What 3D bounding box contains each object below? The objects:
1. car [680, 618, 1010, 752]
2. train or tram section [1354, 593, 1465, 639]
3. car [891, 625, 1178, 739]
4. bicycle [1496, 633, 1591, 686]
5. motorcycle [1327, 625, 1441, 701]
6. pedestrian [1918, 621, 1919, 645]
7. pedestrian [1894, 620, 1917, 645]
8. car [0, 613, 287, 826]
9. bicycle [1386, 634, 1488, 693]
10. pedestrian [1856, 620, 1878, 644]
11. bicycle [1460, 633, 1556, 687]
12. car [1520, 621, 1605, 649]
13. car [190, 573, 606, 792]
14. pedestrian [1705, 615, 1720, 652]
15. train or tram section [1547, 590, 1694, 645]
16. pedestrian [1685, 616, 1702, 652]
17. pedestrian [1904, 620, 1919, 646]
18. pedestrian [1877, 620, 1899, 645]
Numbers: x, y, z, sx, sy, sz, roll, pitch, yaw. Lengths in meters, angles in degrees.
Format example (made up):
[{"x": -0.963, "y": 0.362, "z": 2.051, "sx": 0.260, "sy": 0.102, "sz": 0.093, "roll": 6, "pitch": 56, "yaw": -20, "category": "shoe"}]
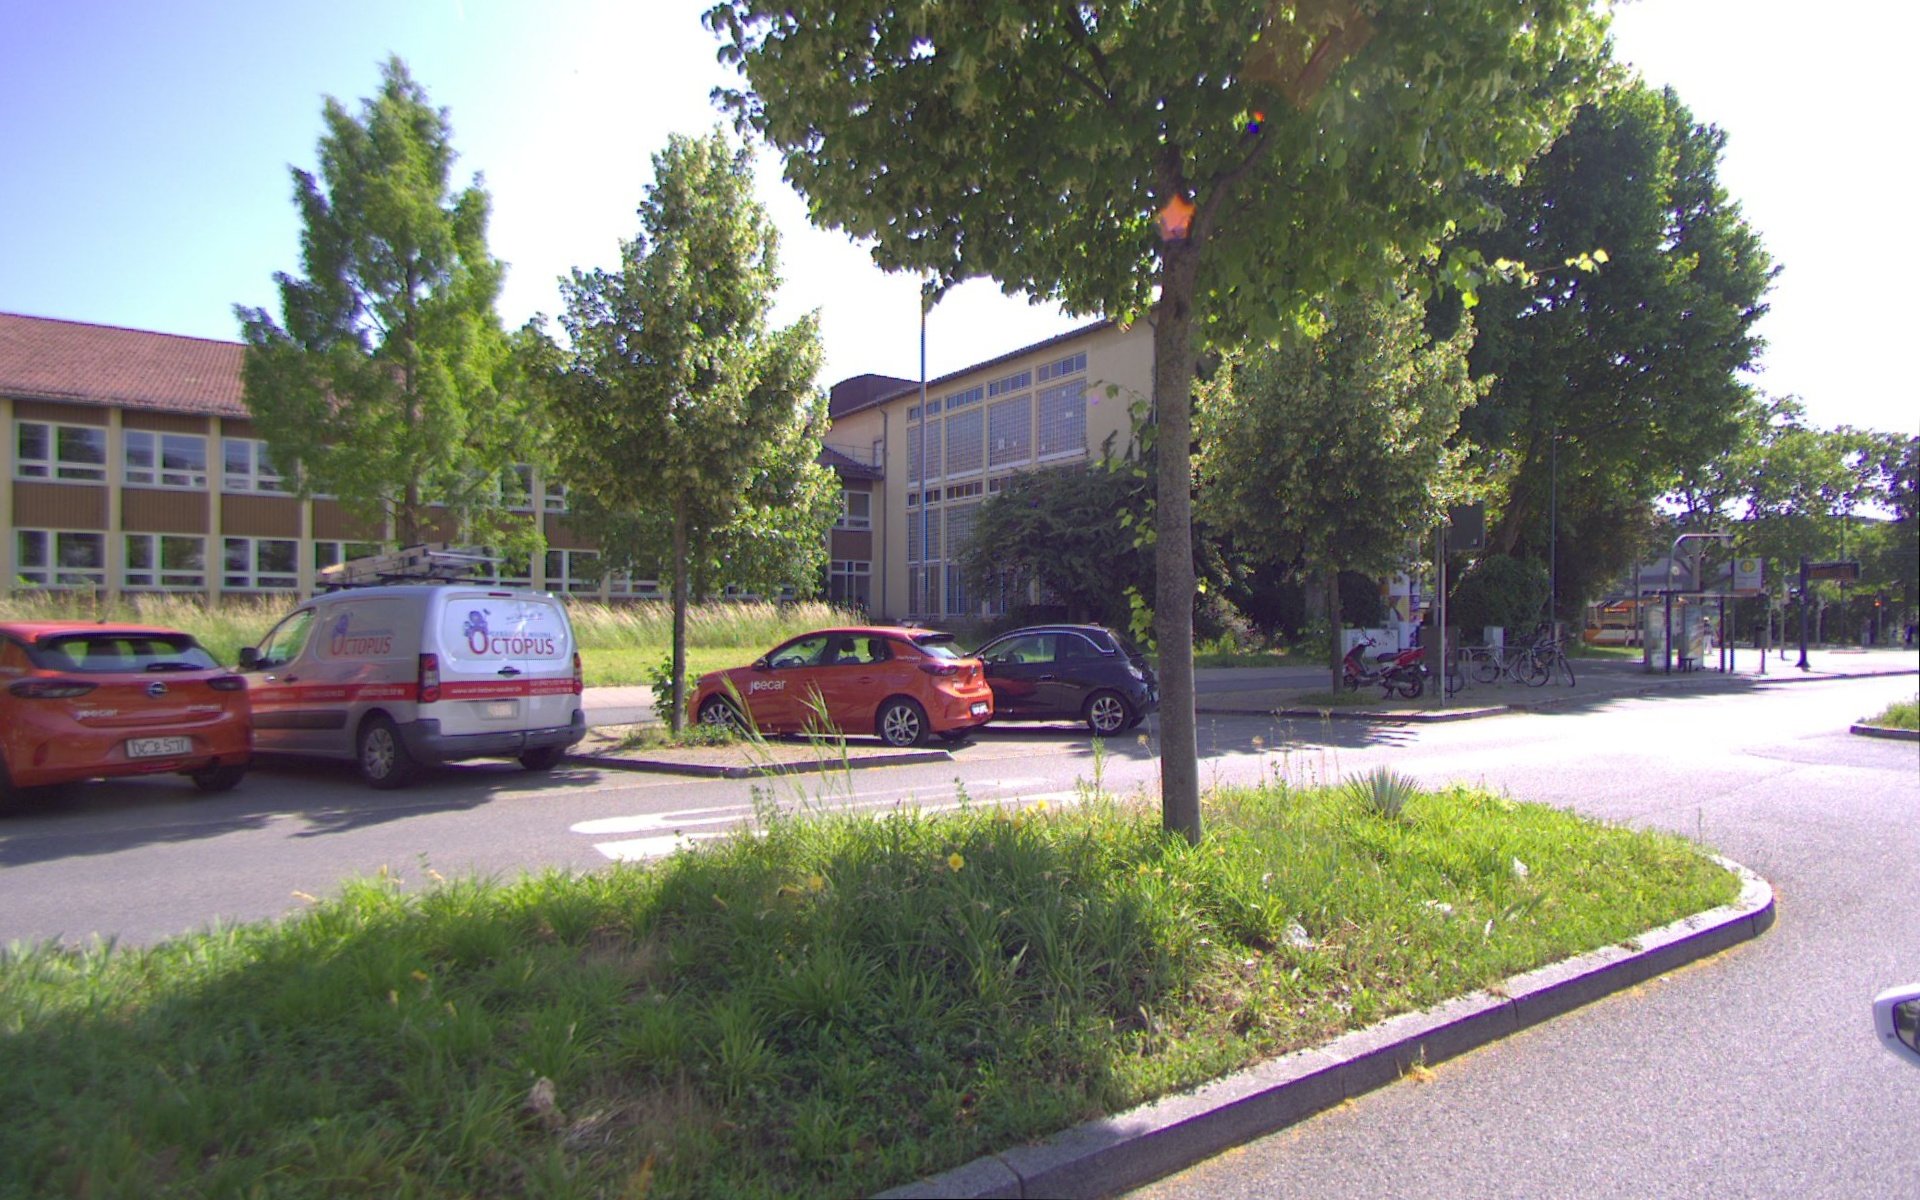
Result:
[{"x": -1.432, "y": 0.971, "z": 12.656, "sx": 3.768, "sy": 1.442, "sz": 1.715, "roll": 0, "pitch": -1, "yaw": 23, "category": "car"}, {"x": 35.095, "y": 1.247, "z": 78.688, "sx": 3.086, "sy": 3.376, "sz": 7.511, "roll": 1, "pitch": -1, "yaw": -33, "category": "train or tram section"}, {"x": 1.097, "y": 1.085, "z": 14.123, "sx": 3.699, "sy": 1.442, "sz": 1.857, "roll": 0, "pitch": -2, "yaw": 18, "category": "car"}, {"x": 13.630, "y": 1.372, "z": 23.507, "sx": 0.685, "sy": 1.137, "sz": 1.836, "roll": 1, "pitch": -1, "yaw": -30, "category": "bicycle"}, {"x": 7.790, "y": 1.125, "z": 18.510, "sx": 0.687, "sy": 1.301, "sz": 1.831, "roll": 1, "pitch": -1, "yaw": -38, "category": "motorcycle"}, {"x": 63.994, "y": 2.190, "z": 66.335, "sx": 0.925, "sy": 1.633, "sz": 0.667, "roll": 1, "pitch": 0, "yaw": -9, "category": "pedestrian"}, {"x": 62.979, "y": 2.147, "z": 66.917, "sx": 0.925, "sy": 1.633, "sz": 0.655, "roll": 1, "pitch": 0, "yaw": -9, "category": "pedestrian"}, {"x": -7.750, "y": 0.844, "z": 8.509, "sx": 3.705, "sy": 1.446, "sz": 1.853, "roll": -1, "pitch": -1, "yaw": 27, "category": "car"}, {"x": 9.827, "y": 1.285, "z": 20.751, "sx": 0.685, "sy": 1.106, "sz": 1.836, "roll": 1, "pitch": -1, "yaw": -30, "category": "bicycle"}, {"x": 61.732, "y": 2.193, "z": 68.368, "sx": 0.925, "sy": 1.633, "sz": 0.655, "roll": 1, "pitch": 0, "yaw": -9, "category": "pedestrian"}, {"x": 12.517, "y": 1.350, "z": 22.985, "sx": 0.685, "sy": 1.121, "sz": 1.836, "roll": 1, "pitch": -1, "yaw": -30, "category": "bicycle"}, {"x": 31.567, "y": 1.815, "z": 52.694, "sx": 1.621, "sy": 1.395, "sz": 3.477, "roll": 1, "pitch": -1, "yaw": -34, "category": "car"}, {"x": -5.541, "y": 0.687, "z": 9.894, "sx": 3.704, "sy": 1.795, "sz": 1.817, "roll": 0, "pitch": -1, "yaw": 27, "category": "car"}, {"x": 36.540, "y": 1.627, "z": 48.776, "sx": 0.560, "sy": 1.749, "sz": 0.730, "roll": 0, "pitch": -1, "yaw": 40, "category": "pedestrian"}, {"x": 43.276, "y": 1.144, "z": 66.040, "sx": 3.086, "sy": 3.376, "sz": 7.511, "roll": 1, "pitch": -1, "yaw": -33, "category": "train or tram section"}, {"x": 35.957, "y": 1.670, "z": 49.247, "sx": 0.651, "sy": 1.749, "sz": 0.749, "roll": 0, "pitch": -1, "yaw": 40, "category": "pedestrian"}, {"x": 62.733, "y": 2.166, "z": 65.947, "sx": 0.925, "sy": 1.633, "sz": 0.655, "roll": 1, "pitch": 0, "yaw": -9, "category": "pedestrian"}, {"x": 62.579, "y": 2.192, "z": 67.722, "sx": 0.925, "sy": 1.633, "sz": 0.655, "roll": 1, "pitch": 0, "yaw": -9, "category": "pedestrian"}]
